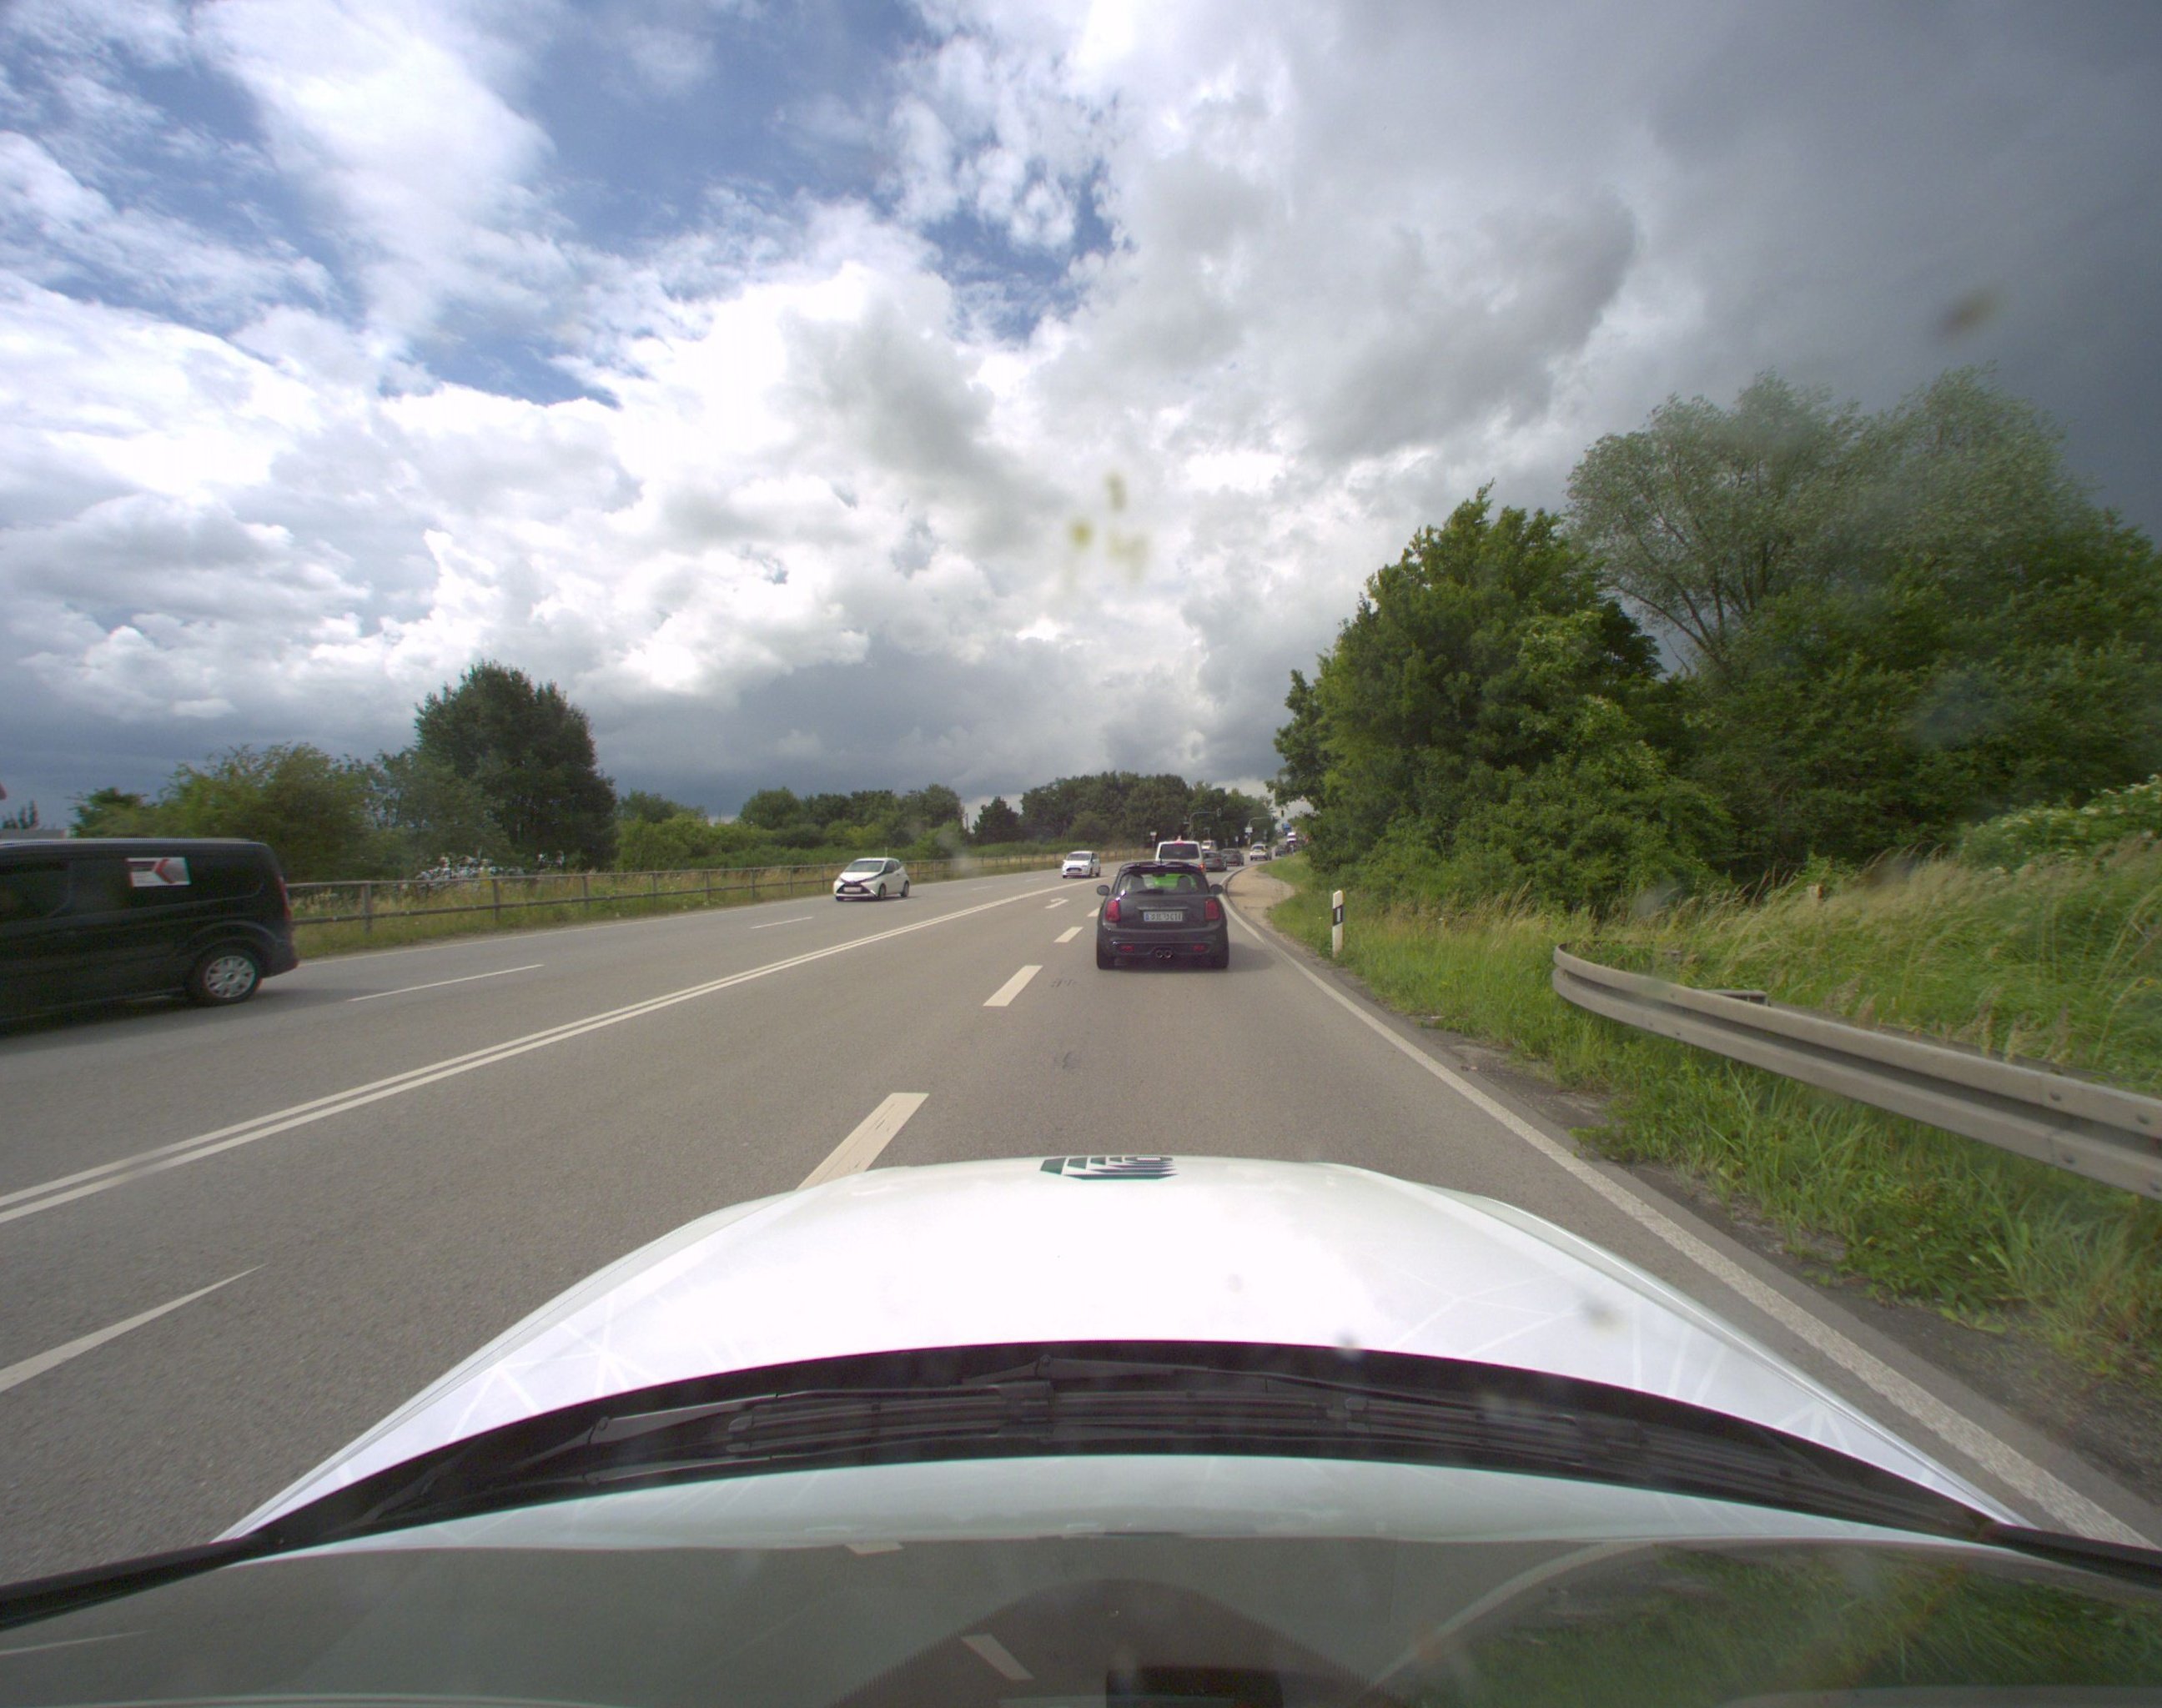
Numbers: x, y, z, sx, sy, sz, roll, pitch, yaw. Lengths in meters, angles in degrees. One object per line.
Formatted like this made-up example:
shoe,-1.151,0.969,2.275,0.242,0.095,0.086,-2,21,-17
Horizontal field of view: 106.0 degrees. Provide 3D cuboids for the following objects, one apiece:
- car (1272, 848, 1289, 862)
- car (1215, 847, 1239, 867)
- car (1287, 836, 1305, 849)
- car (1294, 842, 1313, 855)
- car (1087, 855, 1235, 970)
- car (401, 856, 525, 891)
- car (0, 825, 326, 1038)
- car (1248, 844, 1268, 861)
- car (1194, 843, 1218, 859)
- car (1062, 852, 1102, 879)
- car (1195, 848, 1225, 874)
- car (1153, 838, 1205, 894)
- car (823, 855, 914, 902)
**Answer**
car,24.287,0.136,99.233,1.980,1.684,4.014,0,0,12
car,12.522,0.242,69.696,1.981,1.684,3.988,0,0,10
car,45.583,-2.510,172.760,2.411,2.674,6.928,-1,1,25
car,31.573,-0.750,115.302,1.976,1.695,4.511,-1,1,23
car,1.192,0.753,12.124,1.836,1.428,3.847,0,-1,6
car,-31.406,0.974,41.519,4.571,1.734,1.993,0,0,-11
car,-10.076,0.664,7.499,1.984,1.797,4.326,-1,0,5
car,18.470,-0.121,84.977,1.979,1.684,4.015,0,0,14
car,16.447,-0.390,107.077,1.976,2.013,4.692,-1,0,22
car,0.085,0.664,48.742,1.720,1.518,4.011,0,0,10
car,8.982,0.482,56.842,1.982,1.684,4.009,0,0,8
car,3.726,0.427,30.855,1.835,1.987,3.848,0,0,7
car,-7.359,0.815,28.634,1.867,1.489,3.750,-1,0,6
